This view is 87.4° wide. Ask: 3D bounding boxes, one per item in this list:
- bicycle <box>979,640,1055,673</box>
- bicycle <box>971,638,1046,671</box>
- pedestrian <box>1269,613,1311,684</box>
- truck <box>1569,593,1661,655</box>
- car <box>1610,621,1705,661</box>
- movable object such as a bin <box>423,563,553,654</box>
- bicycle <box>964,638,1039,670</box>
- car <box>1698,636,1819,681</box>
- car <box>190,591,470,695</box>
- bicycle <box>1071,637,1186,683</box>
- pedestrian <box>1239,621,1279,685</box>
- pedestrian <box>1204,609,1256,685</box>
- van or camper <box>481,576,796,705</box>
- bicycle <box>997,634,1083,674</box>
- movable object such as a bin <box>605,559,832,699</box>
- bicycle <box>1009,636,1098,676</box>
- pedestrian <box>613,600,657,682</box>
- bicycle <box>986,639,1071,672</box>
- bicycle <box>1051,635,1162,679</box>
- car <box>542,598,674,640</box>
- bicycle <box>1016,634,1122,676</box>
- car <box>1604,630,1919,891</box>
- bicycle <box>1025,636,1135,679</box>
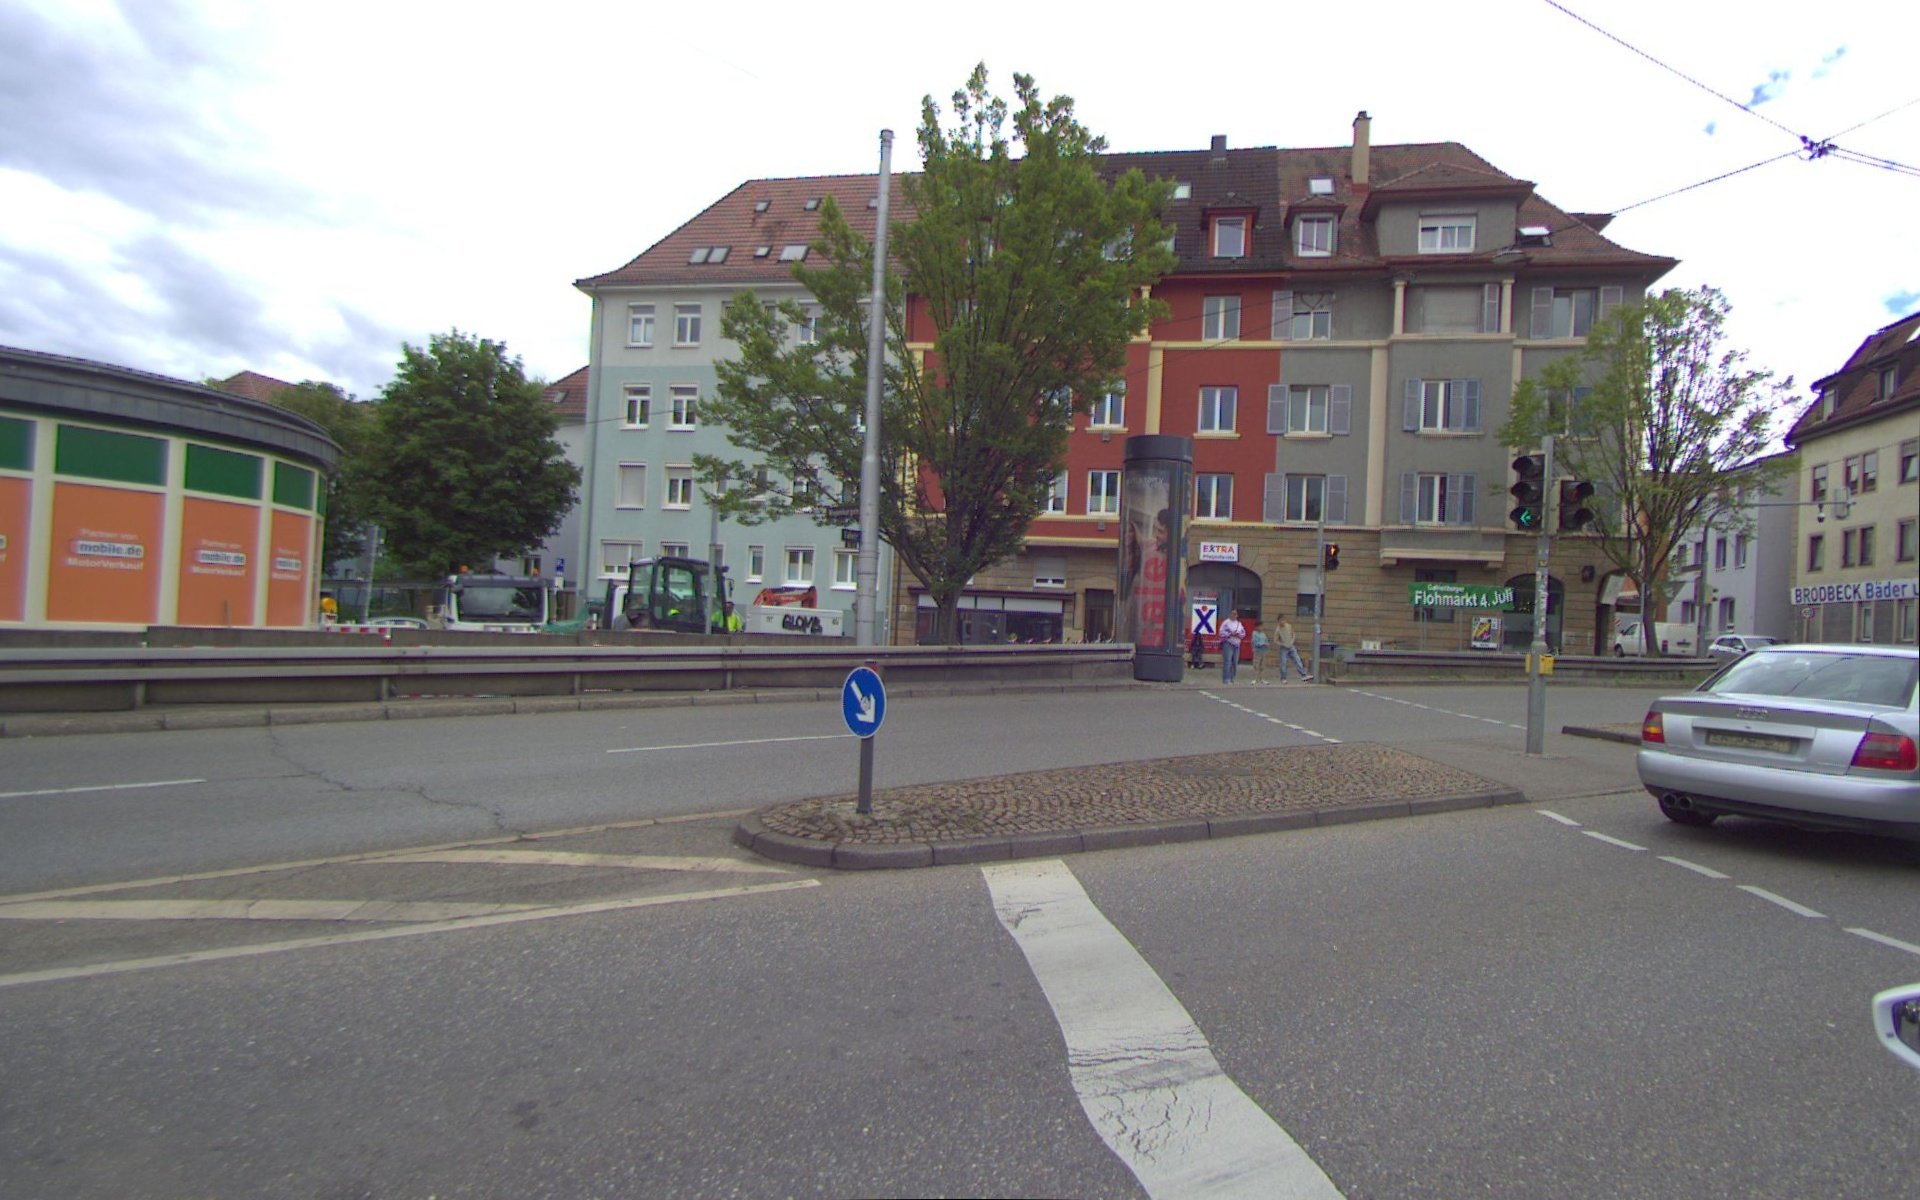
[{"bbox_3d":[1.967,1.936,34.474,2.626,1.084,0.631,2,0,-26],"label":"bicycle"},{"bbox_3d":[1.708,1.911,35.068,2.626,1.084,0.631,2,0,-25],"label":"bicycle"},{"bbox_3d":[7.131,1.049,21.707,0.643,1.507,0.522,1,0,-18],"label":"pedestrian"},{"bbox_3d":[39.217,1.378,60.360,2.644,3.399,5.442,3,0,12],"label":"truck"},{"bbox_3d":[35.237,2.023,50.881,2.023,1.823,4.338,1,0,4],"label":"car"},{"bbox_3d":[-12.581,0.190,26.498,2.369,2.099,6.199,2,0,-32],"label":"movable object such as a bin"},{"bbox_3d":[1.483,1.915,35.678,2.626,1.084,0.631,2,0,-25],"label":"bicycle"},{"bbox_3d":[30.166,2.164,38.094,1.842,1.489,3.978,2,-1,9],"label":"car"},{"bbox_3d":[-10.873,0.684,17.729,1.959,1.572,4.002,2,0,11],"label":"car"},{"bbox_3d":[4.768,1.689,28.324,3.314,1.218,0.814,2,0,-26],"label":"bicycle"},{"bbox_3d":[6.433,1.132,21.598,0.575,1.356,0.574,1,0,-18],"label":"pedestrian"},{"bbox_3d":[5.739,0.994,21.391,0.726,1.567,0.792,1,0,-18],"label":"pedestrian"},{"bbox_3d":[-6.821,0.786,21.568,5.885,2.369,2.690,2,0,16],"label":"van or camper"},{"bbox_3d":[2.644,1.780,33.046,2.796,1.218,0.814,2,0,-26],"label":"bicycle"},{"bbox_3d":[-3.830,0.454,16.398,1.358,2.040,3.522,1,-1,38],"label":"movable object such as a bin"},{"bbox_3d":[3.004,1.791,32.247,2.796,1.218,0.814,2,0,-26],"label":"bicycle"},{"bbox_3d":[-5.631,0.707,17.431,0.614,1.381,0.600,2,0,-9],"label":"pedestrian"},{"bbox_3d":[2.312,1.868,33.822,2.796,1.034,0.814,2,0,-26],"label":"bicycle"},{"bbox_3d":[4.299,1.661,29.420,3.314,1.218,0.814,2,0,-26],"label":"bicycle"},{"bbox_3d":[-12.561,0.692,35.995,1.767,1.388,4.131,1,-1,44],"label":"car"},{"bbox_3d":[3.419,1.712,31.325,3.314,1.218,0.900,2,0,-26],"label":"bicycle"},{"bbox_3d":[6.727,0.974,7.323,4.077,1.383,1.622,2,1,-28],"label":"car"},{"bbox_3d":[3.634,1.727,30.218,3.314,1.218,0.900,2,0,-26],"label":"bicycle"}]
